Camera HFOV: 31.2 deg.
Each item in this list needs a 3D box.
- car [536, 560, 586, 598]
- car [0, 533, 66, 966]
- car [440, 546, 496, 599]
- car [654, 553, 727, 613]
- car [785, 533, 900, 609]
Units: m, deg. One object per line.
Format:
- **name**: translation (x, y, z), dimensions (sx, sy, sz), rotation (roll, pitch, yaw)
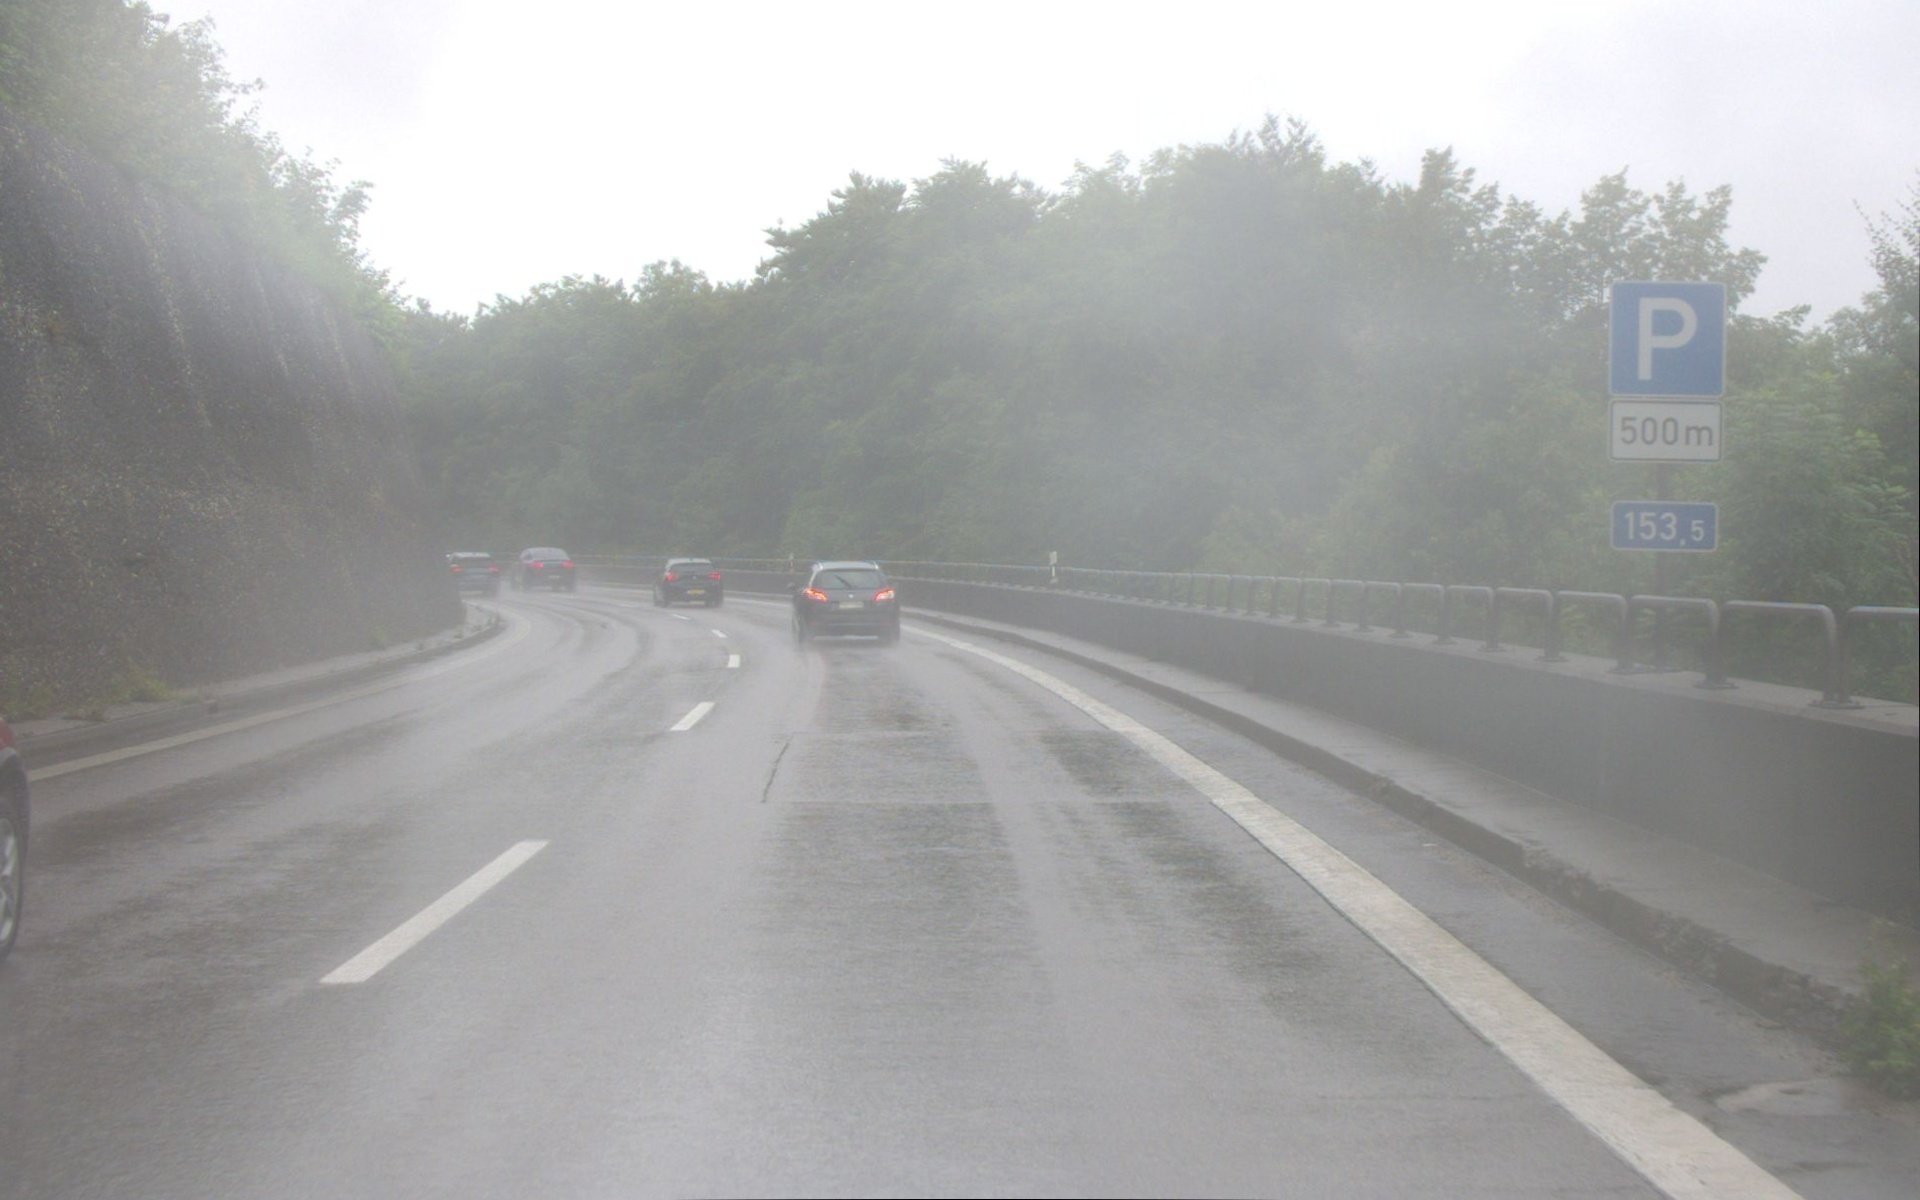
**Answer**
- **car**: translation (-15.696, -0.826, 135.249), dimensions (1.800, 1.462, 4.001), rotation (0, 1, -9)
- **car**: translation (-4.398, 0.554, 11.261), dimensions (1.993, 1.546, 4.000), rotation (0, 1, -2)
- **car**: translation (-18.088, -1.007, 126.532), dimensions (1.993, 1.897, 4.001), rotation (0, 0, -8)
- **car**: translation (-8.057, -0.502, 102.464), dimensions (1.993, 1.744, 4.001), rotation (0, 0, -7)
- **car**: translation (-2.116, -0.518, 61.088), dimensions (1.800, 1.303, 4.001), rotation (0, 1, -5)
